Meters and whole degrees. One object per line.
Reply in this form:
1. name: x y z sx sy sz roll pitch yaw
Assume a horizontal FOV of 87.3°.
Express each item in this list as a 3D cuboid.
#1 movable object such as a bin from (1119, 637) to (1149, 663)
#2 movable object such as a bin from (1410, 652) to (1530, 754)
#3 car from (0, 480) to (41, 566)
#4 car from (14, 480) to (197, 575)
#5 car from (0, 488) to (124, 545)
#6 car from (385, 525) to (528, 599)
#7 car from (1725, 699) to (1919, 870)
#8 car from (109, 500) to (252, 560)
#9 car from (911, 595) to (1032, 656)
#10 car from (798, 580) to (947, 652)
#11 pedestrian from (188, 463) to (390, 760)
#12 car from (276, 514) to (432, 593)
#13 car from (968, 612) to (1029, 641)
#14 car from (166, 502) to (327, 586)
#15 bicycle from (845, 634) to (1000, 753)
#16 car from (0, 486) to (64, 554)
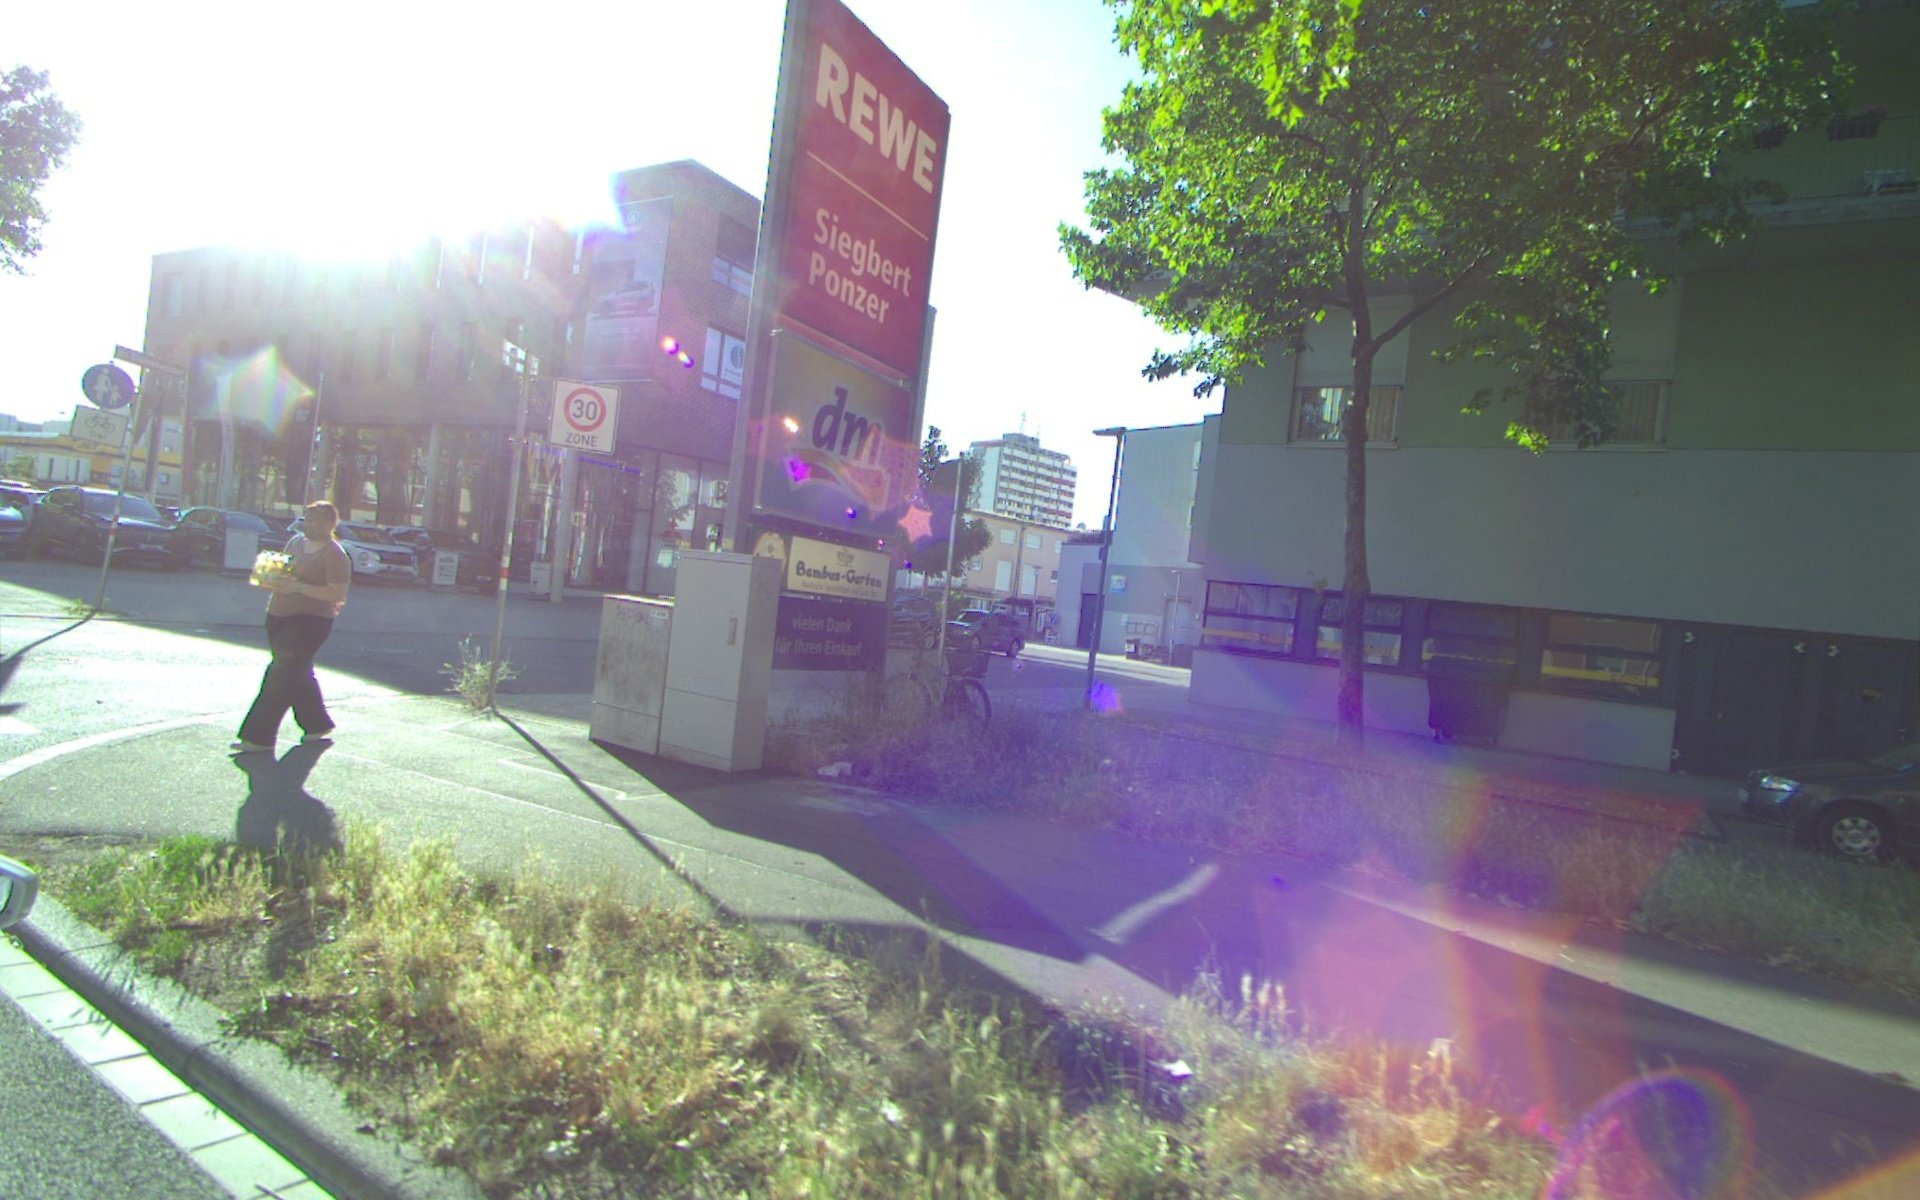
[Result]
1. movable object such as a bin: 8.568 2.447 49.438 0.979 1.086 0.912 6 2 -37
2. movable object such as a bin: 8.598 1.719 16.964 1.388 1.481 1.190 7 0 43
3. car: -21.531 -1.813 21.404 4.089 1.690 1.754 7 0 31
4. car: -20.191 -1.719 23.751 4.293 1.753 1.829 7 0 29
5. car: -30.283 -2.782 33.581 1.613 1.530 3.815 7 1 -4
6. car: -15.591 -1.185 31.108 4.112 1.755 1.988 7 0 32
7. car: 10.710 2.081 10.440 4.054 1.487 1.862 7 0 30
8. car: -24.610 -2.161 31.953 1.613 1.530 3.815 7 1 -4
9. car: 0.465 0.894 33.871 1.996 1.683 4.488 7 1 30
10. car: -2.438 0.518 29.279 1.996 1.683 4.489 7 1 29
11. pedestrian: -4.383 0.066 6.607 0.651 1.785 0.769 6 2 17
12. car: -17.201 -1.326 28.528 4.109 1.755 1.879 7 0 29
13. car: 2.664 1.833 70.645 3.948 1.641 1.860 4 -2 43
14. car: -18.658 -1.468 26.274 4.109 1.705 1.730 7 0 29
15. bicycle: -0.387 0.939 10.372 1.458 1.016 0.384 7 1 15
16. car: -24.402 -2.107 24.535 1.632 1.564 3.818 7 0 -2
